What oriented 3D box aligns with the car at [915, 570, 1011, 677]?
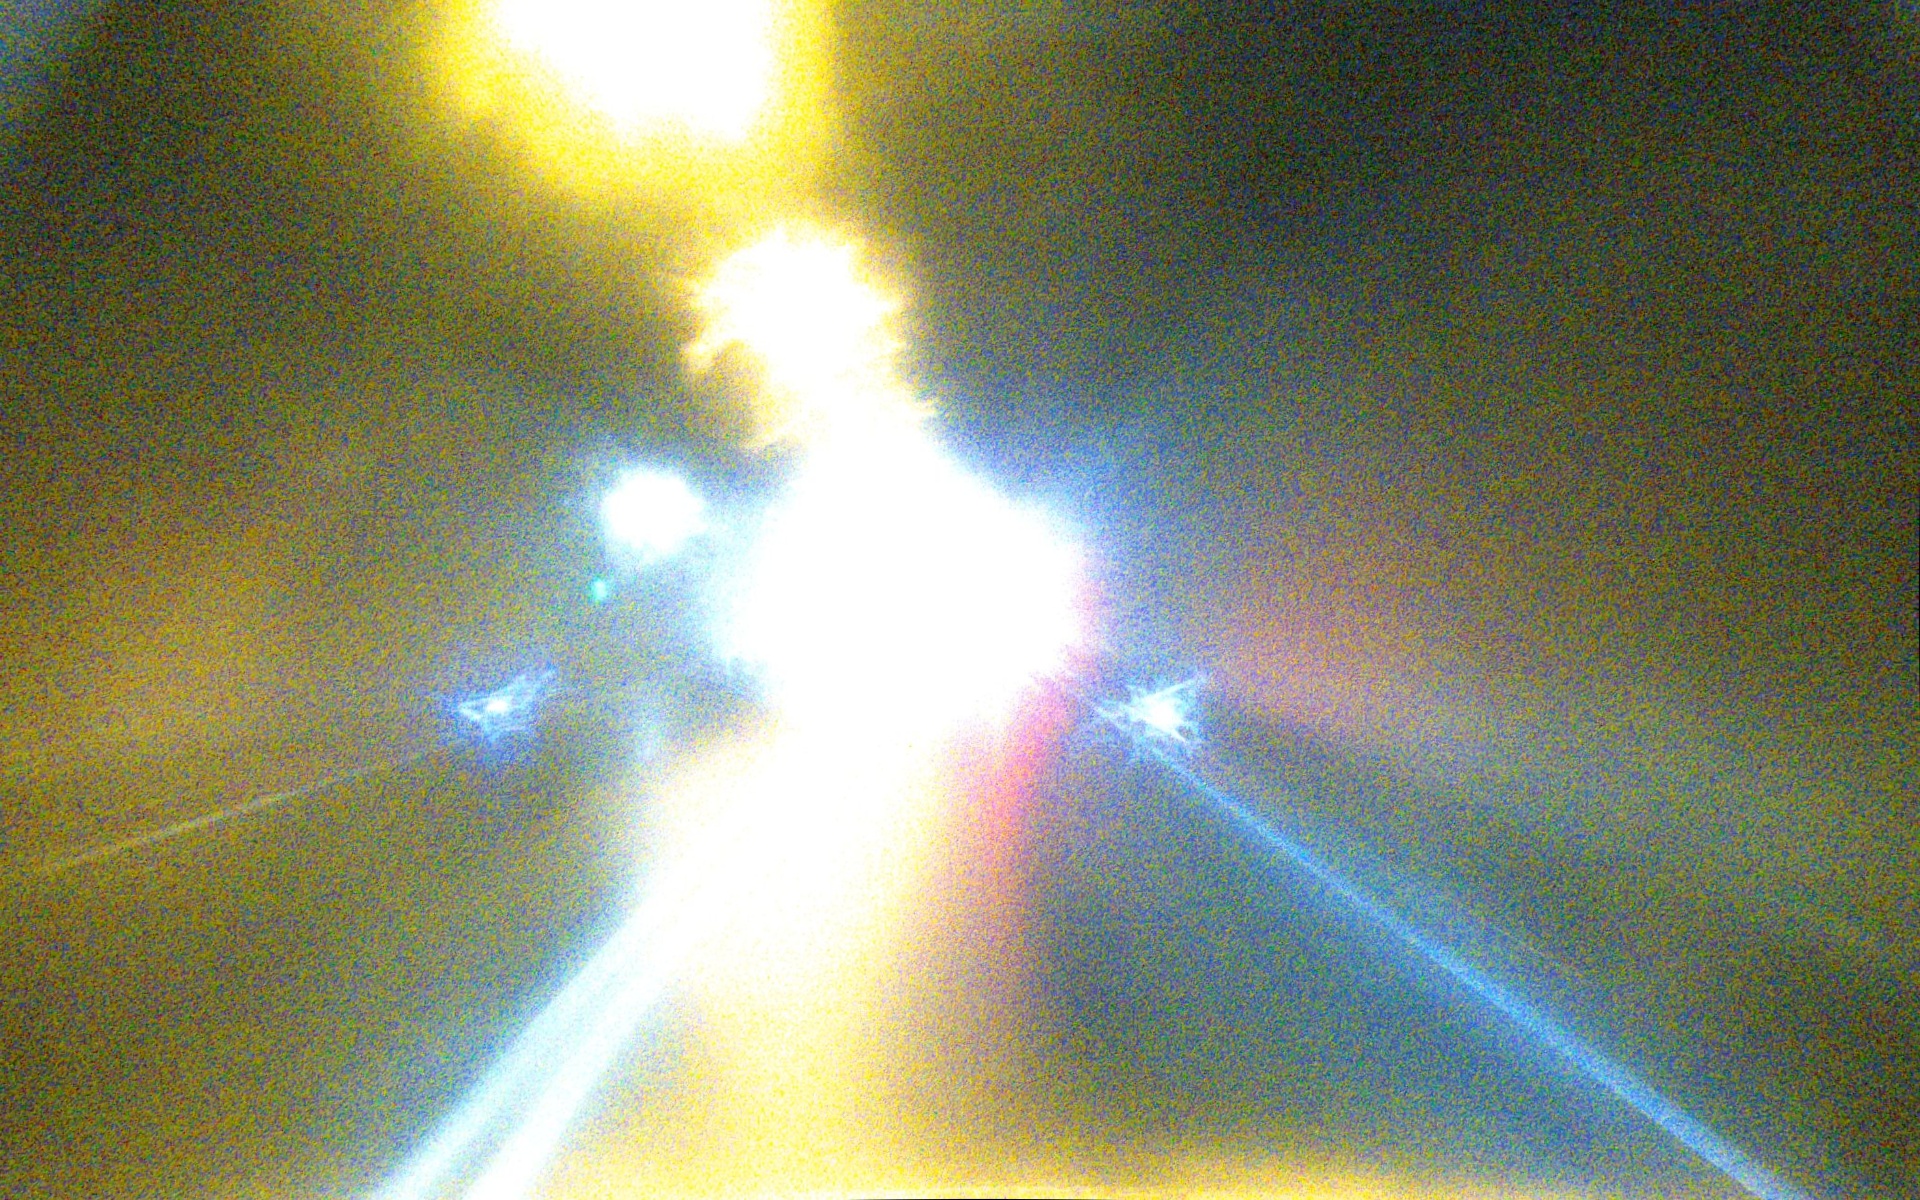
[{"bbox_3d":[0.043,0.367,29.795,1.602,1.788,4.145,0,1,0],"label":"car"}]
